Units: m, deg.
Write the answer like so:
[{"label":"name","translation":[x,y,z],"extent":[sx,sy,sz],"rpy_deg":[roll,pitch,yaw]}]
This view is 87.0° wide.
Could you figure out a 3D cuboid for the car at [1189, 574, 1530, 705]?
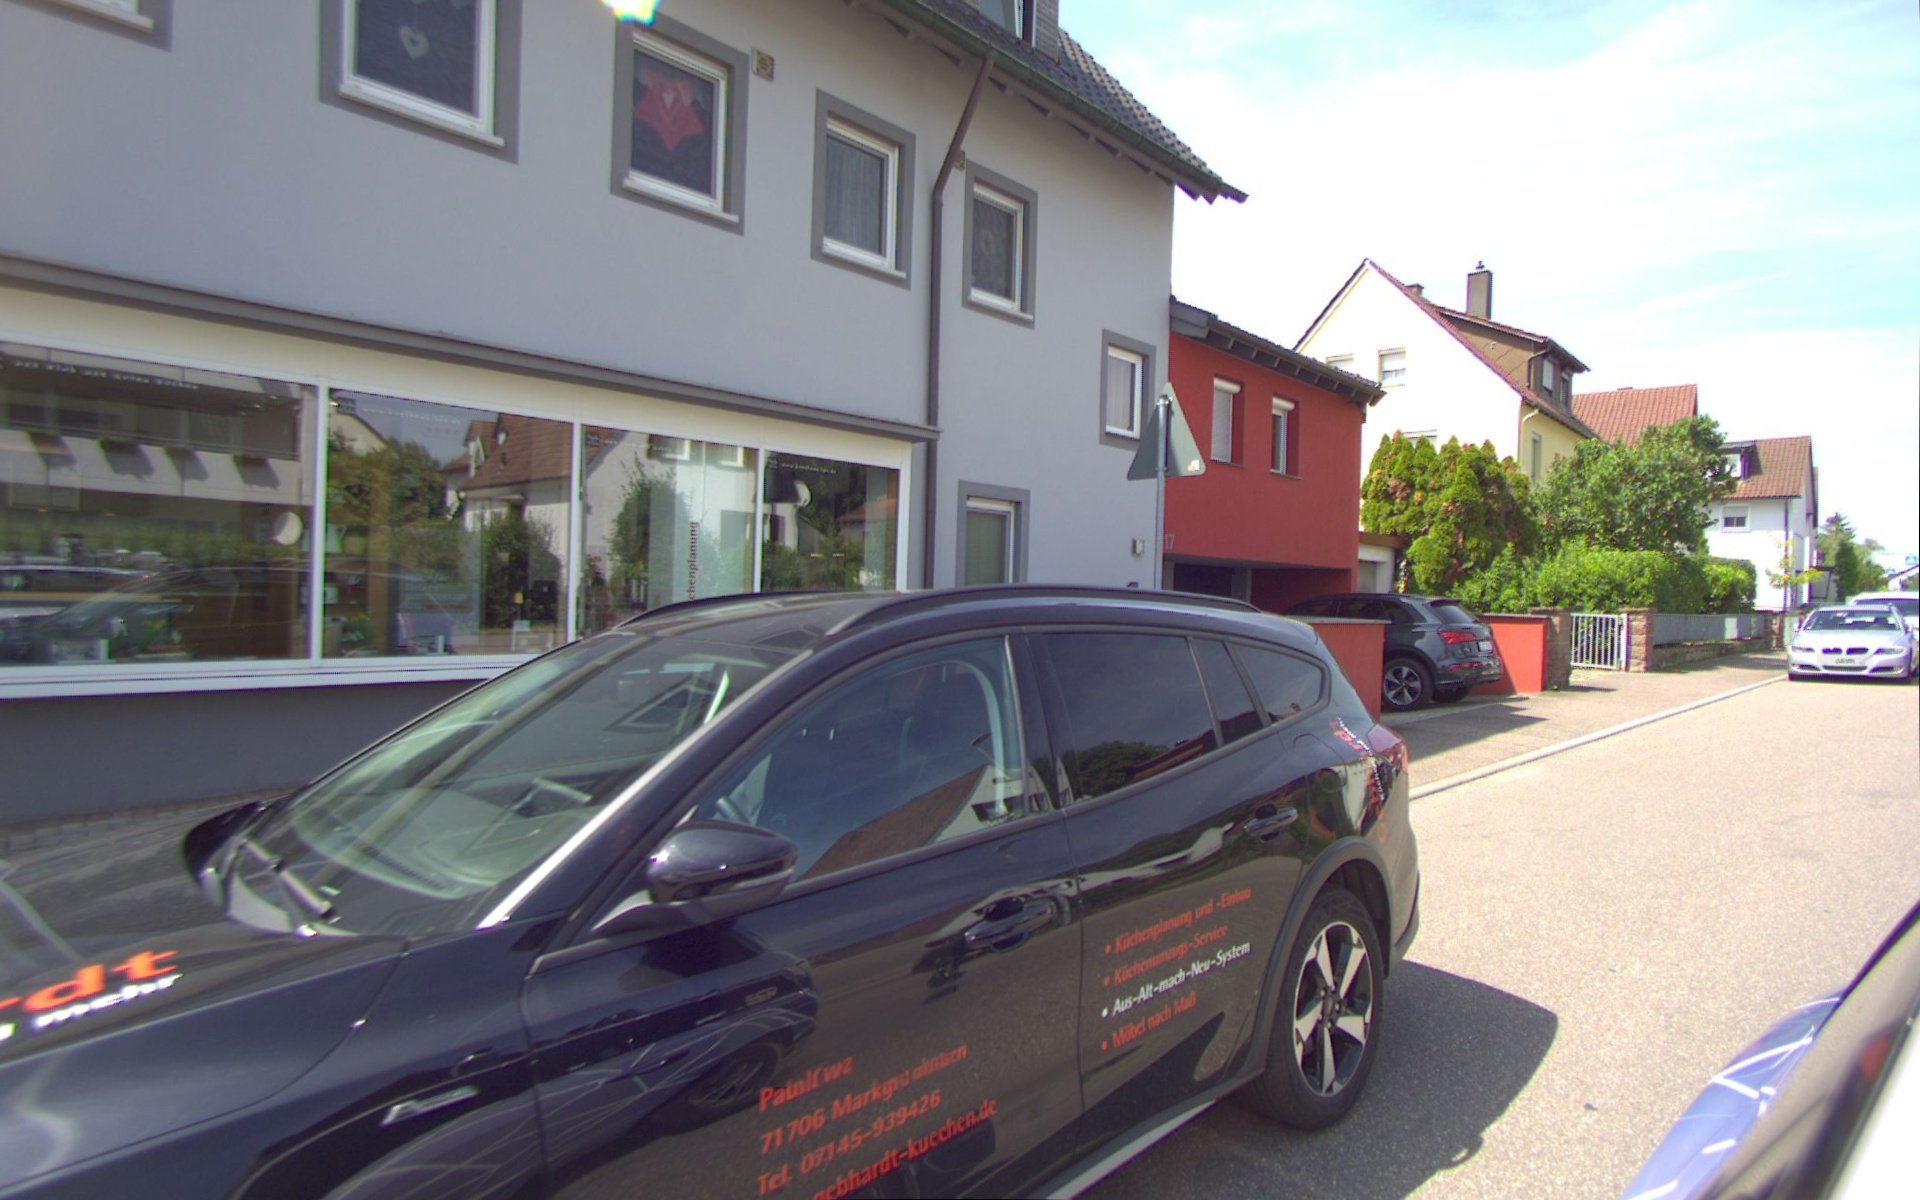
[{"label":"car","translation":[5.923,0.673,15.413],"extent":[1.846,1.690,4.368],"rpy_deg":[0,-5,-44]}]

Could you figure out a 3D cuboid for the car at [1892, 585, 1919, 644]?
[{"label":"car","translation":[30.571,0.436,31.749],"extent":[3.987,1.771,1.667],"rpy_deg":[0,0,-43]}]

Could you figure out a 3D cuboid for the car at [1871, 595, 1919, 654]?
[{"label":"car","translation":[25.729,0.608,27.105],"extent":[4.299,1.487,1.625],"rpy_deg":[0,0,-43]}]

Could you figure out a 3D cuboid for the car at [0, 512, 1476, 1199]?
[{"label":"car","translation":[-0.430,0.689,2.590],"extent":[4.331,1.546,1.763],"rpy_deg":[0,0,-43]}]

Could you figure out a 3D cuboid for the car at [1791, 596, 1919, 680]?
[{"label":"car","translation":[17.412,0.651,19.408],"extent":[4.347,1.439,1.753],"rpy_deg":[0,-1,-44]}]

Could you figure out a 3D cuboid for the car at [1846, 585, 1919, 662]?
[{"label":"car","translation":[22.100,0.506,23.604],"extent":[4.264,1.683,1.738],"rpy_deg":[0,0,-43]}]
